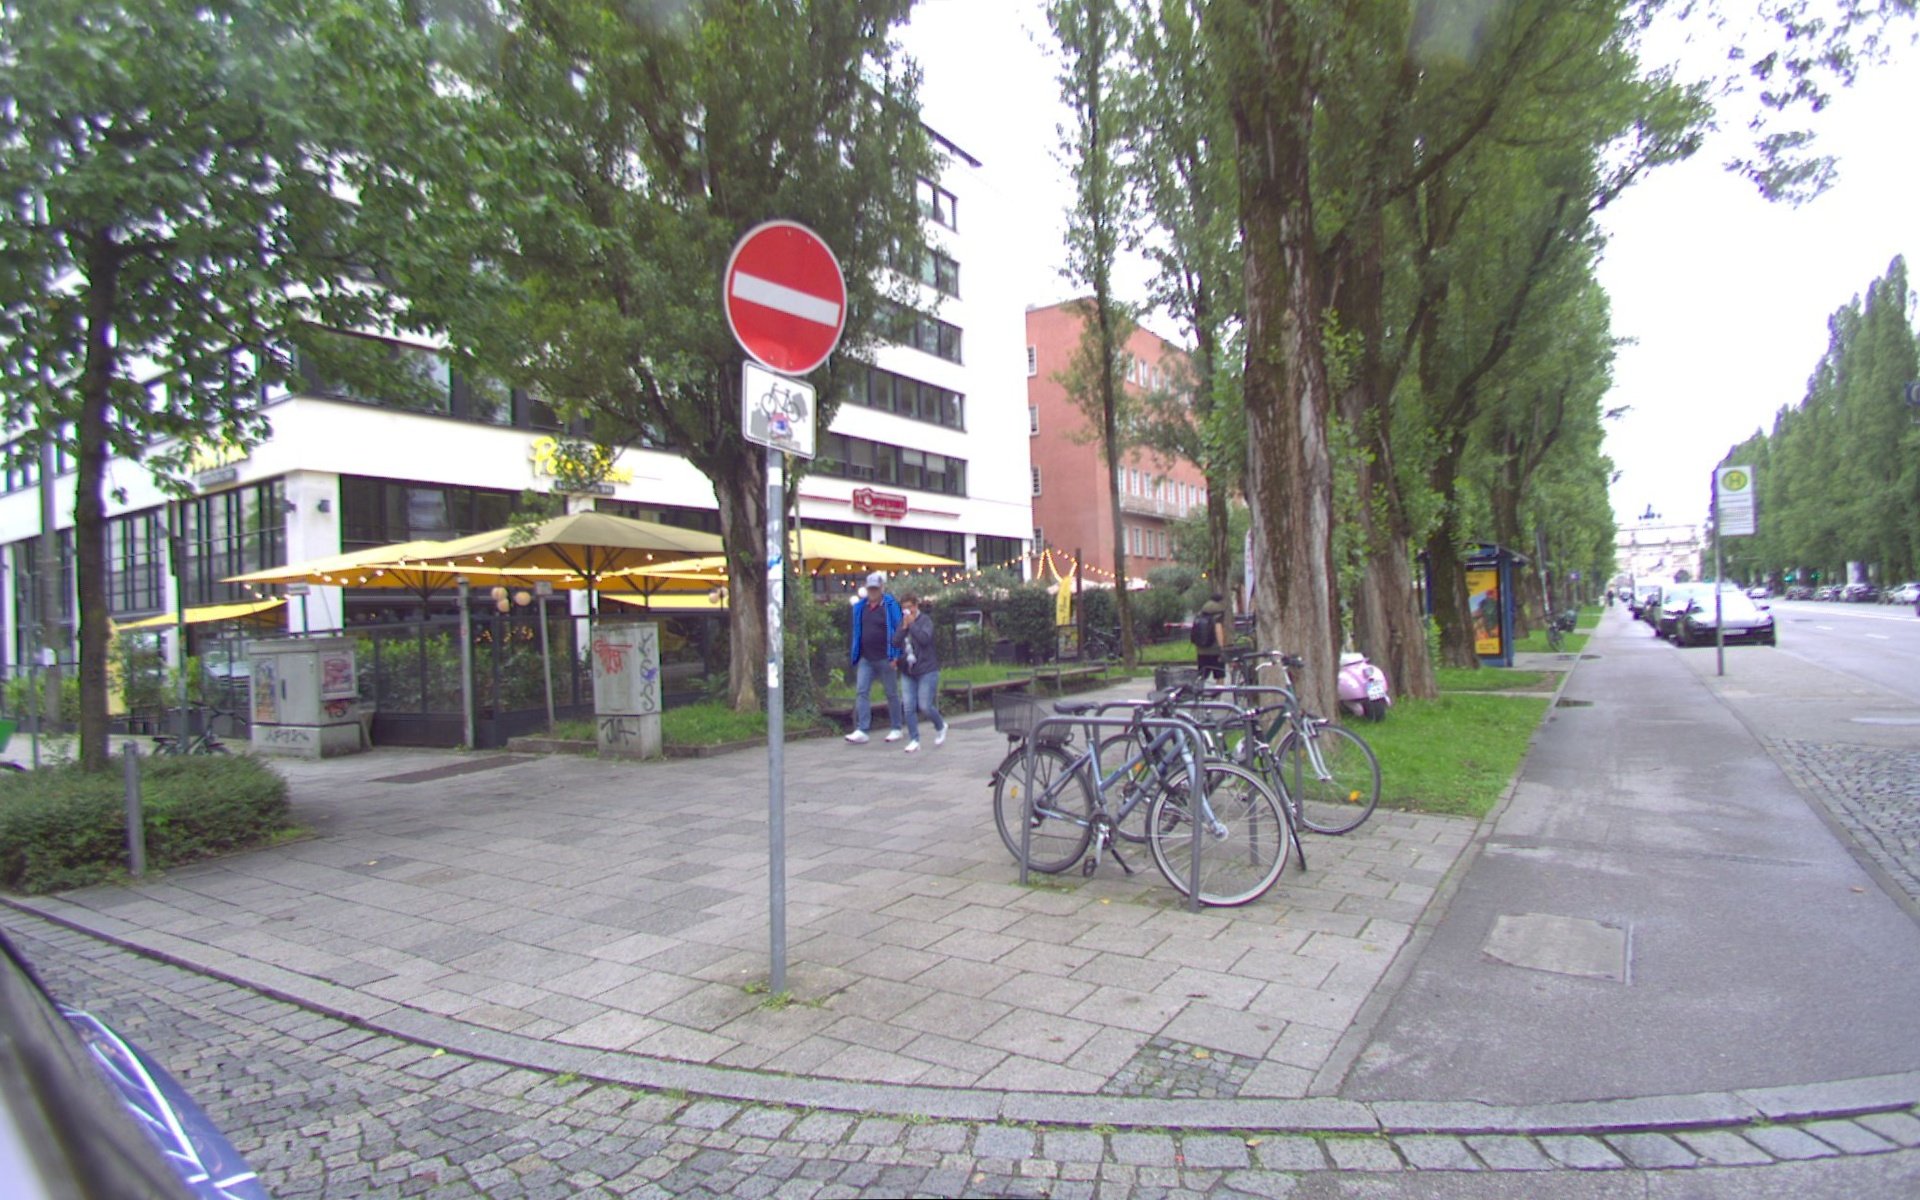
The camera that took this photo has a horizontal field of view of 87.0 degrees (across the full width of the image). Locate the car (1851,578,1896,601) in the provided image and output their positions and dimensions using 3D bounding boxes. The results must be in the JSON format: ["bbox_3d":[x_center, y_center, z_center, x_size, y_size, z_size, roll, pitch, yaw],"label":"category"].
[{"bbox_3d":[74.065,-0.843,82.122,1.994,1.735,4.760,-2,-1,33],"label":"car"}]

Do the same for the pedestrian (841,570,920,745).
[{"bbox_3d":[-0.906,0.650,11.584,0.695,1.922,0.643,-3,-2,9],"label":"pedestrian"}]

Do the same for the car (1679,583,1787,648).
[{"bbox_3d":[21.060,0.400,27.732,2.007,1.592,3.954,-3,-1,34],"label":"car"}]

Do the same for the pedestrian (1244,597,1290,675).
[{"bbox_3d":[6.869,0.803,22.629,0.734,1.705,0.639,-4,-2,37],"label":"pedestrian"}]

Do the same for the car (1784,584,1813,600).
[{"bbox_3d":[94.805,-0.895,114.428,1.994,1.735,4.299,-2,-1,34],"label":"car"}]

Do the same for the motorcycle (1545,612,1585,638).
[{"bbox_3d":[23.169,0.967,38.774,0.461,0.945,1.662,-3,-1,0],"label":"motorcycle"}]

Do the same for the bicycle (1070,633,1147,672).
[{"bbox_3d":[3.780,1.349,25.825,1.795,0.919,0.614,-4,-2,31],"label":"bicycle"}]

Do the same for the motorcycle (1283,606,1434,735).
[{"bbox_3d":[4.490,0.741,11.563,0.619,1.204,1.996,-2,4,-11],"label":"motorcycle"}]

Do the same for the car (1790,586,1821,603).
[{"bbox_3d":[91.512,-0.580,109.593,1.994,1.735,4.299,-2,-1,34],"label":"car"}]

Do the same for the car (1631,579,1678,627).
[{"bbox_3d":[41.215,0.145,60.153,2.006,2.652,5.933,-3,-1,33],"label":"car"}]

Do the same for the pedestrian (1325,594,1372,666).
[{"bbox_3d":[9.640,0.728,25.098,0.855,1.724,0.949,-3,-2,31],"label":"pedestrian"}]

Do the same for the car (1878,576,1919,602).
[{"bbox_3d":[67.898,-0.791,72.823,1.994,1.735,4.760,-2,-1,33],"label":"car"}]

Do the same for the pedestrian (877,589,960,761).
[{"bbox_3d":[-0.426,0.777,10.723,0.695,1.741,0.643,-3,-1,9],"label":"pedestrian"}]

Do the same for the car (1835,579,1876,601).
[{"bbox_3d":[76.894,-0.852,86.928,1.994,1.735,4.299,-2,-1,34],"label":"car"}]

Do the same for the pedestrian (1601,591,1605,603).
[{"bbox_3d":[118.695,-0.554,186.783,0.504,2.010,0.515,-4,-2,37],"label":"pedestrian"}]

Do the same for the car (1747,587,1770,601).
[{"bbox_3d":[104.195,-0.821,132.088,1.994,1.735,4.299,-2,-1,34],"label":"car"}]

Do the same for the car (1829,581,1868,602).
[{"bbox_3d":[79.545,-0.769,90.699,1.994,1.735,4.299,-2,-1,34],"label":"car"}]

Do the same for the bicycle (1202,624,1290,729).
[{"bbox_3d":[3.630,0.935,12.759,0.581,1.197,1.598,-3,-2,33],"label":"bicycle"}]

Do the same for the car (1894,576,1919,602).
[{"bbox_3d":[65.138,-0.765,68.585,1.995,1.735,4.073,-2,-1,34],"label":"car"}]

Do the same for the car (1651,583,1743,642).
[{"bbox_3d":[24.470,0.459,33.738,2.005,1.771,3.957,-4,-3,31],"label":"car"}]

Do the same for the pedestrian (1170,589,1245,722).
[{"bbox_3d":[3.444,0.756,14.084,0.751,1.786,0.697,-2,-1,38],"label":"pedestrian"}]

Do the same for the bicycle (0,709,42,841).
[{"bbox_3d":[-8.913,1.590,8.618,0.546,1.152,1.762,-3,-1,2],"label":"bicycle"}]

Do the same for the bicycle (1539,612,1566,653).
[{"bbox_3d":[15.863,0.854,27.105,0.551,1.030,1.745,-3,-1,30],"label":"bicycle"}]

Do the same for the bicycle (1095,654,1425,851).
[{"bbox_3d":[1.885,0.930,6.597,1.981,1.101,0.485,-4,-2,38],"label":"bicycle"}]

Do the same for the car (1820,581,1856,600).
[{"bbox_3d":[83.960,-0.930,96.811,1.994,1.735,4.299,-2,-1,34],"label":"car"}]

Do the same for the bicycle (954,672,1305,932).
[{"bbox_3d":[0.805,0.940,5.160,1.701,1.101,0.485,-4,-2,38],"label":"bicycle"}]

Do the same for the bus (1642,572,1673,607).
[{"bbox_3d":[88.010,-1.260,127.819,2.641,4.143,9.687,-4,-2,33],"label":"bus"}]

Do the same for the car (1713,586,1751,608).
[{"bbox_3d":[61.676,-0.270,80.889,2.007,1.592,3.954,-5,-2,34],"label":"car"}]

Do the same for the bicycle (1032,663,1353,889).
[{"bbox_3d":[1.274,0.933,5.780,1.701,1.101,0.485,-4,-2,38],"label":"bicycle"}]

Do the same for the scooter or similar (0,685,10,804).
[{"bbox_3d":[-10.598,1.562,10.475,0.323,1.282,1.250,-3,-2,2],"label":"scooter or similar"}]

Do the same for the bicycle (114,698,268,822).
[{"bbox_3d":[-7.293,1.470,9.573,1.756,1.030,0.548,-4,-2,32],"label":"bicycle"}]
